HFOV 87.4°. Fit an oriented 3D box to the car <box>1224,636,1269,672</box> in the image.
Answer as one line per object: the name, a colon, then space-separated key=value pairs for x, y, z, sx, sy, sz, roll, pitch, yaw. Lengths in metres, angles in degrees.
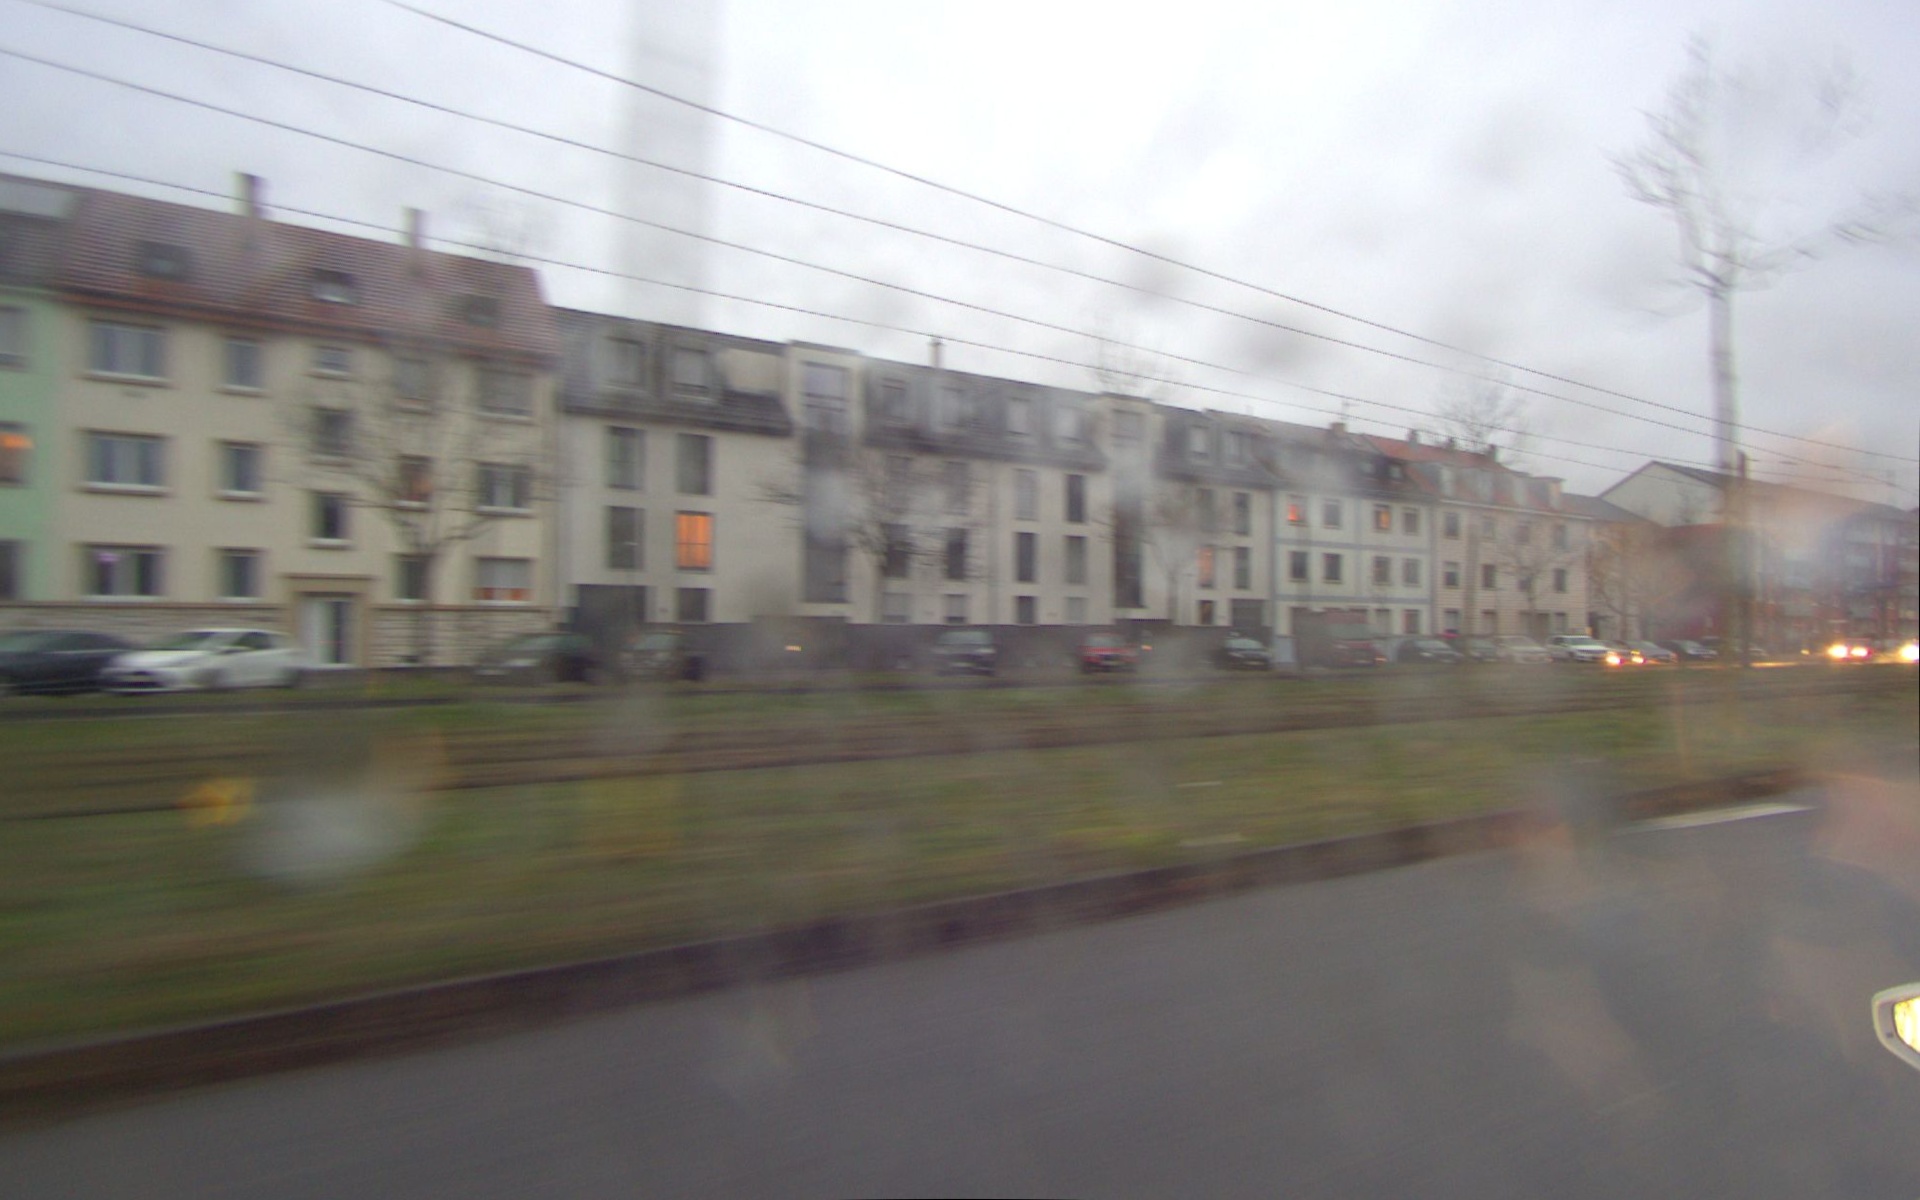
car: x=11.131 y=2.066 z=39.153 sx=1.360 sy=1.220 sz=2.890 roll=1 pitch=0 yaw=10

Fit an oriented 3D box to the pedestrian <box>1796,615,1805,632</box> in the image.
pedestrian: x=60.878 y=1.703 z=72.744 sx=0.339 sy=1.200 sz=0.434 roll=1 pitch=0 yaw=18

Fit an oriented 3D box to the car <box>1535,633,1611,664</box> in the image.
car: x=32.246 y=2.506 z=52.996 sx=1.737 sy=1.397 sz=4.126 roll=1 pitch=0 yaw=5

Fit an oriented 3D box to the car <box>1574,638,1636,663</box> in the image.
car: x=34.979 y=2.727 z=54.563 sx=1.370 sy=1.162 sz=3.044 roll=1 pitch=0 yaw=-1

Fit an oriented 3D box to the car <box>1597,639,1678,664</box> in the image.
car: x=37.714 y=2.835 z=56.048 sx=1.648 sy=1.131 sz=4.189 roll=1 pitch=0 yaw=-1

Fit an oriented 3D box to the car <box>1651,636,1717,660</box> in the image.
car: x=43.418 y=2.850 z=60.332 sx=1.424 sy=1.355 sz=3.770 roll=0 pitch=-1 yaw=4

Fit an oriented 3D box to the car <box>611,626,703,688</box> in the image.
car: x=-8.069 y=1.483 z=26.999 sx=1.638 sy=1.441 sz=3.383 roll=1 pitch=0 yaw=-5

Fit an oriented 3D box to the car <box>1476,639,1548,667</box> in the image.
car: x=26.955 y=2.563 z=49.171 sx=1.658 sy=1.162 sz=3.419 roll=1 pitch=0 yaw=0

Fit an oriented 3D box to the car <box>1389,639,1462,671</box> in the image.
car: x=21.463 y=2.511 z=46.431 sx=1.713 sy=1.228 sz=3.540 roll=1 pitch=0 yaw=0

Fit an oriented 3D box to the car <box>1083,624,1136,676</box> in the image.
car: x=5.347 y=1.716 z=35.681 sx=1.707 sy=1.610 sz=3.852 roll=1 pitch=0 yaw=10

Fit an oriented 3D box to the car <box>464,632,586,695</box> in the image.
car: x=-10.812 y=1.549 z=25.174 sx=1.703 sy=1.354 sz=2.937 roll=1 pitch=0 yaw=1

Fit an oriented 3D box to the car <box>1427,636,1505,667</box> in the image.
car: x=23.765 y=2.393 z=47.307 sx=1.845 sy=1.216 sz=3.540 roll=1 pitch=0 yaw=0

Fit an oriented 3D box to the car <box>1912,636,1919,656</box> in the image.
car: x=72.913 y=3.457 z=74.842 sx=4.739 sy=1.522 sz=1.869 roll=2 pitch=0 yaw=-33

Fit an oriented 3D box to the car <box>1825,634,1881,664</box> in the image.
car: x=53.828 y=2.939 z=60.521 sx=3.470 sy=1.645 sz=1.605 roll=1 pitch=0 yaw=-32

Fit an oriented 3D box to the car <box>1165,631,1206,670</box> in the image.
car: x=8.659 y=1.910 z=38.737 sx=1.360 sy=1.320 sz=3.099 roll=1 pitch=0 yaw=10

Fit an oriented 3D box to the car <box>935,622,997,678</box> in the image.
car: x=0.251 y=1.550 z=32.256 sx=1.636 sy=1.561 sz=4.164 roll=1 pitch=0 yaw=5

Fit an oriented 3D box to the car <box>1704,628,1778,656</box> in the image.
car: x=48.925 y=2.592 z=63.046 sx=1.708 sy=1.576 sz=3.799 roll=1 pitch=0 yaw=1

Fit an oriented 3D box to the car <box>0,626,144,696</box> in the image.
car: x=-18.645 y=1.176 z=19.824 sx=1.702 sy=1.188 sz=3.823 roll=1 pitch=0 yaw=6

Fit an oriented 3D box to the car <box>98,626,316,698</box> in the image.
car: x=-16.132 y=1.282 z=21.786 sx=1.703 sy=1.262 sz=3.844 roll=1 pitch=0 yaw=2

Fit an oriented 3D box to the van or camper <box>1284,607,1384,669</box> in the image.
van or camper: x=16.030 y=1.557 z=43.564 sx=1.960 sy=2.391 sz=6.883 roll=1 pitch=0 yaw=2
